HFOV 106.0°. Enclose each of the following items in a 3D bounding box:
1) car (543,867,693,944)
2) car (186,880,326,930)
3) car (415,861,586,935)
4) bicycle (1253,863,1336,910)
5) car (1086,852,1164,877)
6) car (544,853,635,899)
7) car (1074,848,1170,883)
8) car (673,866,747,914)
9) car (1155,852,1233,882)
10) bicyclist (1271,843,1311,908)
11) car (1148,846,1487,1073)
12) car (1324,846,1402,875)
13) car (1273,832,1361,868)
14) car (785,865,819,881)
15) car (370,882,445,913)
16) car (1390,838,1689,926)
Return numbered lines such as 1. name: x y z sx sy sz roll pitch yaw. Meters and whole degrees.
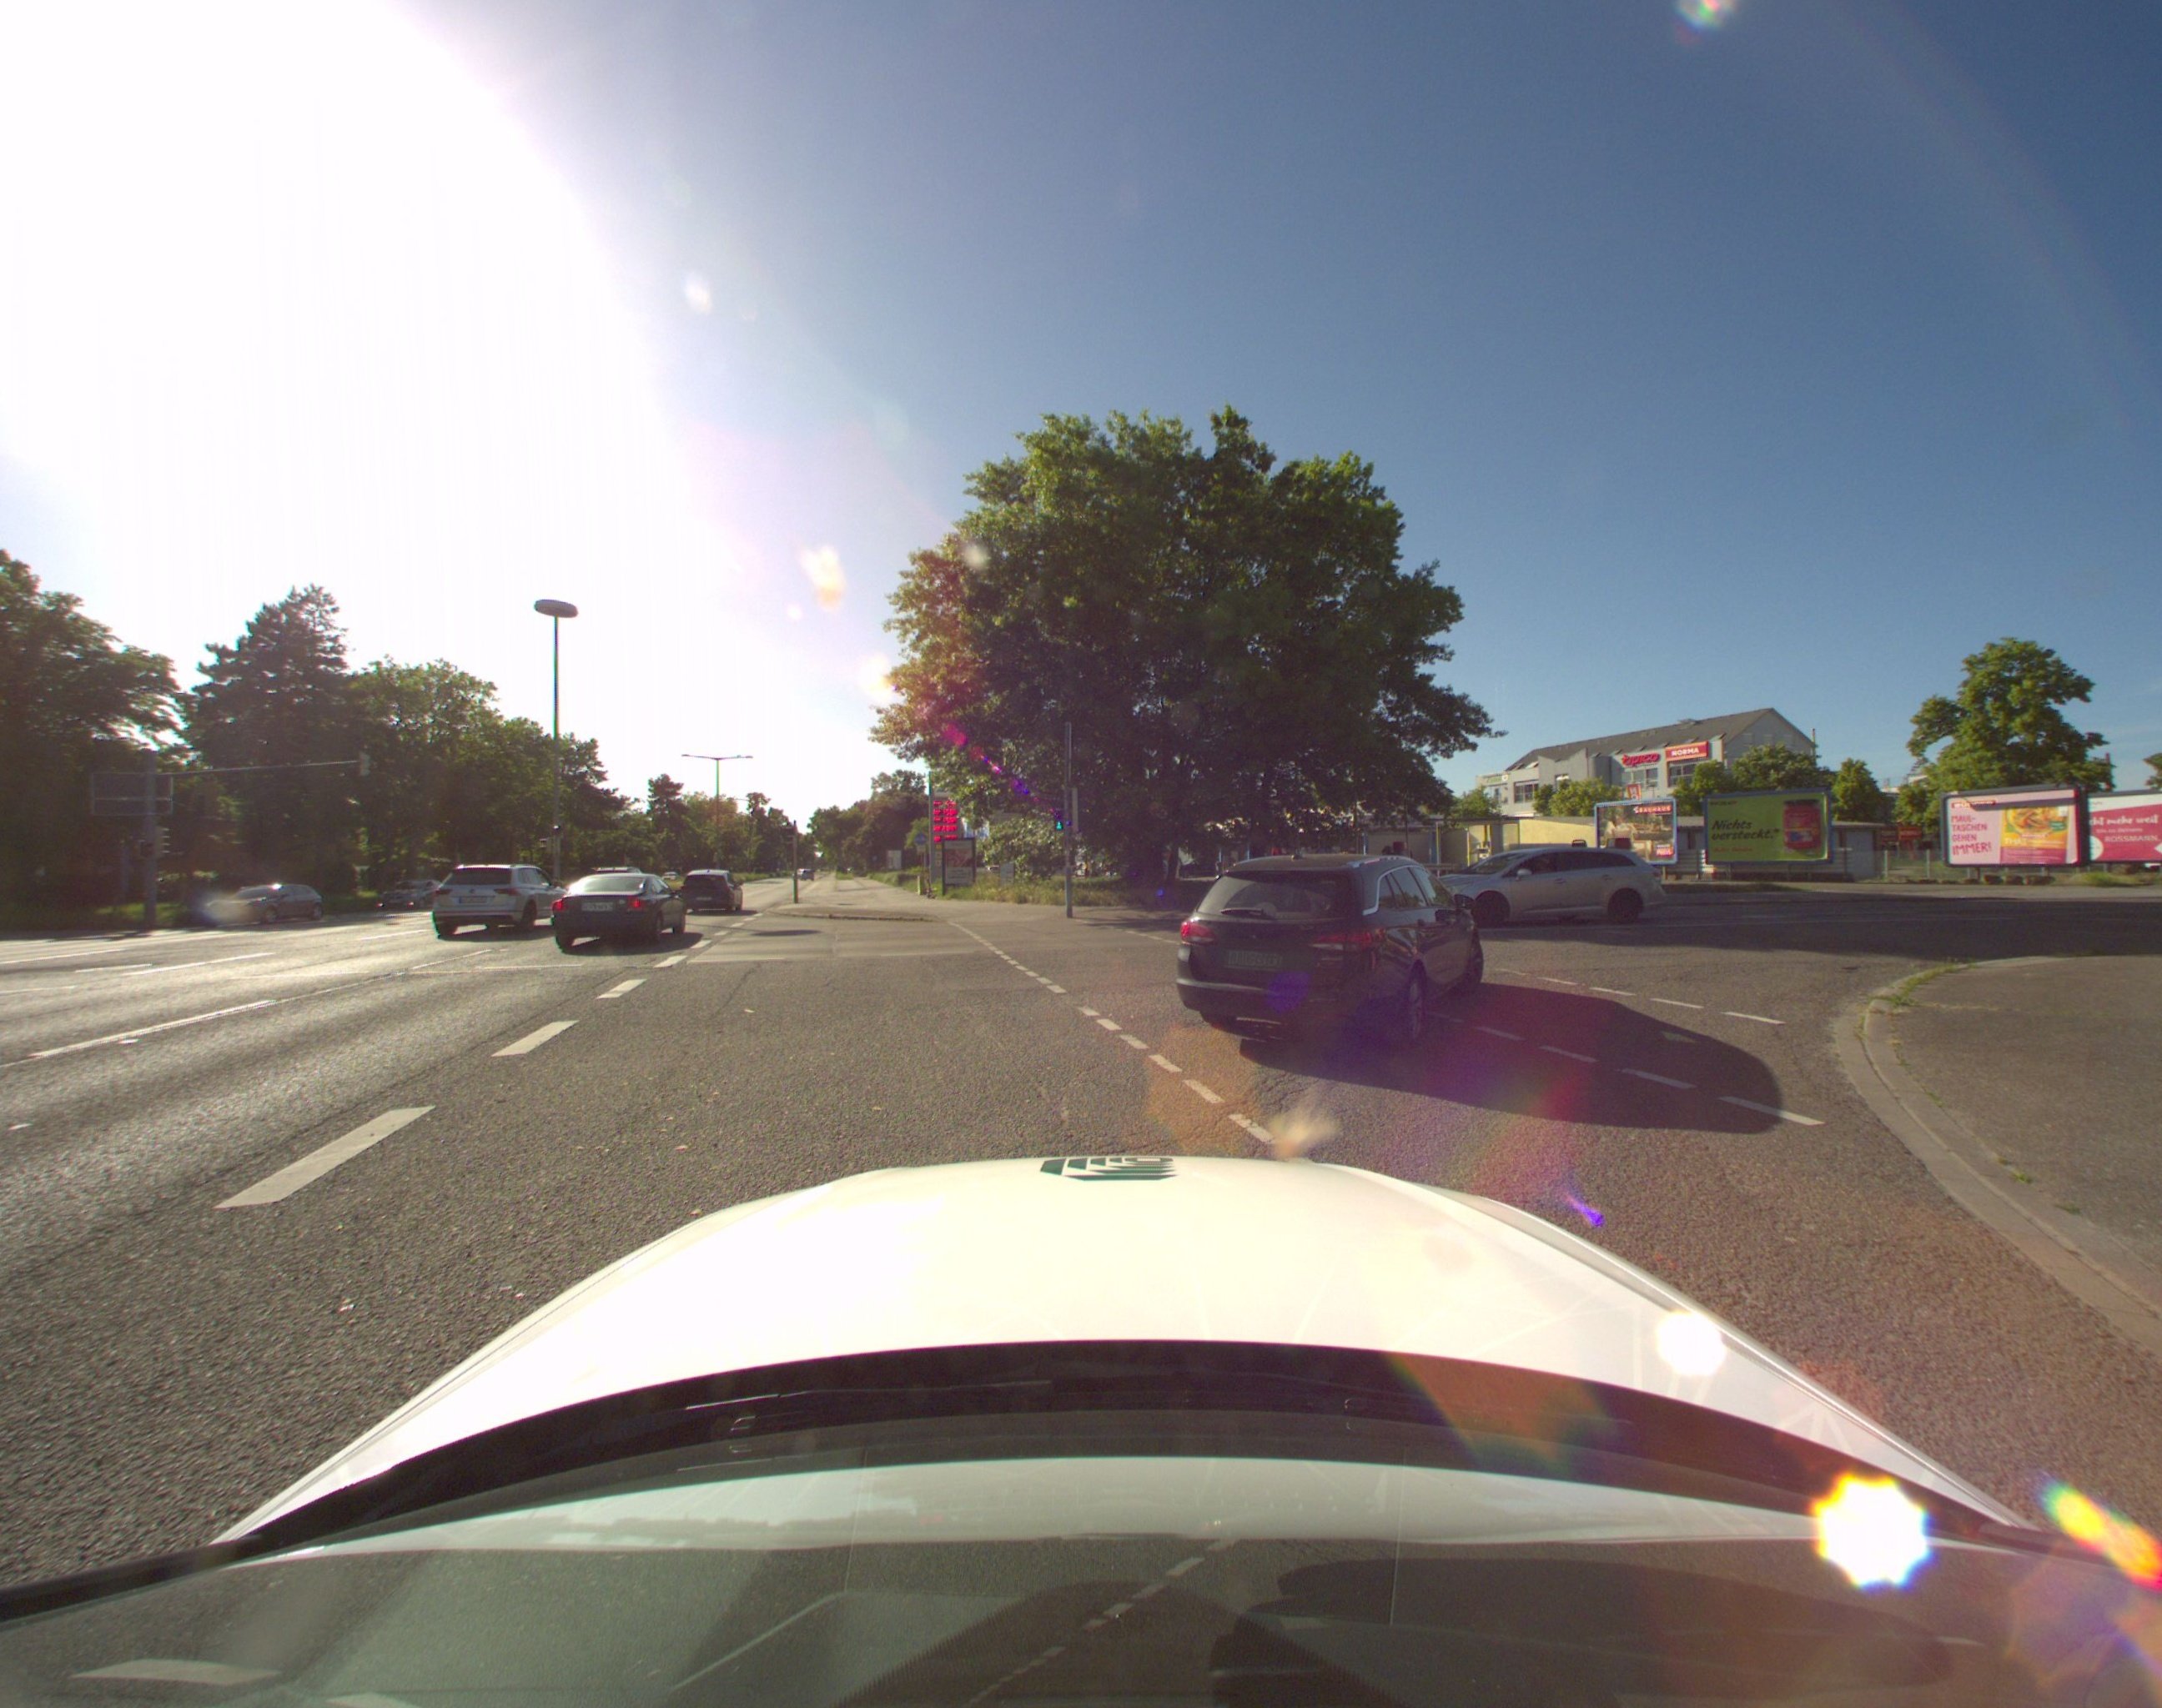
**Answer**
1. car: -9.563 1.003 17.195 1.841 1.395 4.338 1 -2 -18
2. car: -29.943 1.796 29.750 1.807 1.653 4.081 1 -2 -17
3. car: -14.331 1.053 20.445 1.945 1.653 4.344 1 -2 -14
4. bicycle: 5.522 0.832 21.083 2.020 1.141 0.527 -1 -1 -11
5. car: 2.467 0.608 45.471 4.010 1.335 1.783 2 -2 -28
6. car: -18.922 0.854 31.566 1.915 1.653 4.339 1 -2 -17
7. car: 2.544 0.750 50.939 5.650 2.099 1.988 1 -2 -18
8. car: -13.345 1.263 29.554 1.841 1.588 4.339 0 -1 -17
9. car: 6.056 0.709 43.587 4.008 1.512 1.518 2 -2 -27
10. bicyclist: 5.431 0.559 21.080 0.827 1.642 0.540 -1 -1 -11
11. car: 2.479 0.686 7.622 1.744 1.491 4.318 -1 0 35
12. car: 16.633 0.411 48.035 3.998 1.607 1.987 1 -2 -18
13. car: 10.232 -0.128 35.239 4.020 1.376 1.739 2 -2 -41
14. car: -36.199 2.493 105.624 3.948 2.014 2.012 0 -2 33
15. car: -33.595 2.148 40.744 1.551 1.432 3.578 -1 -1 -16
16. car: 8.790 0.529 15.840 4.866 1.489 1.839 -1 -2 -5
